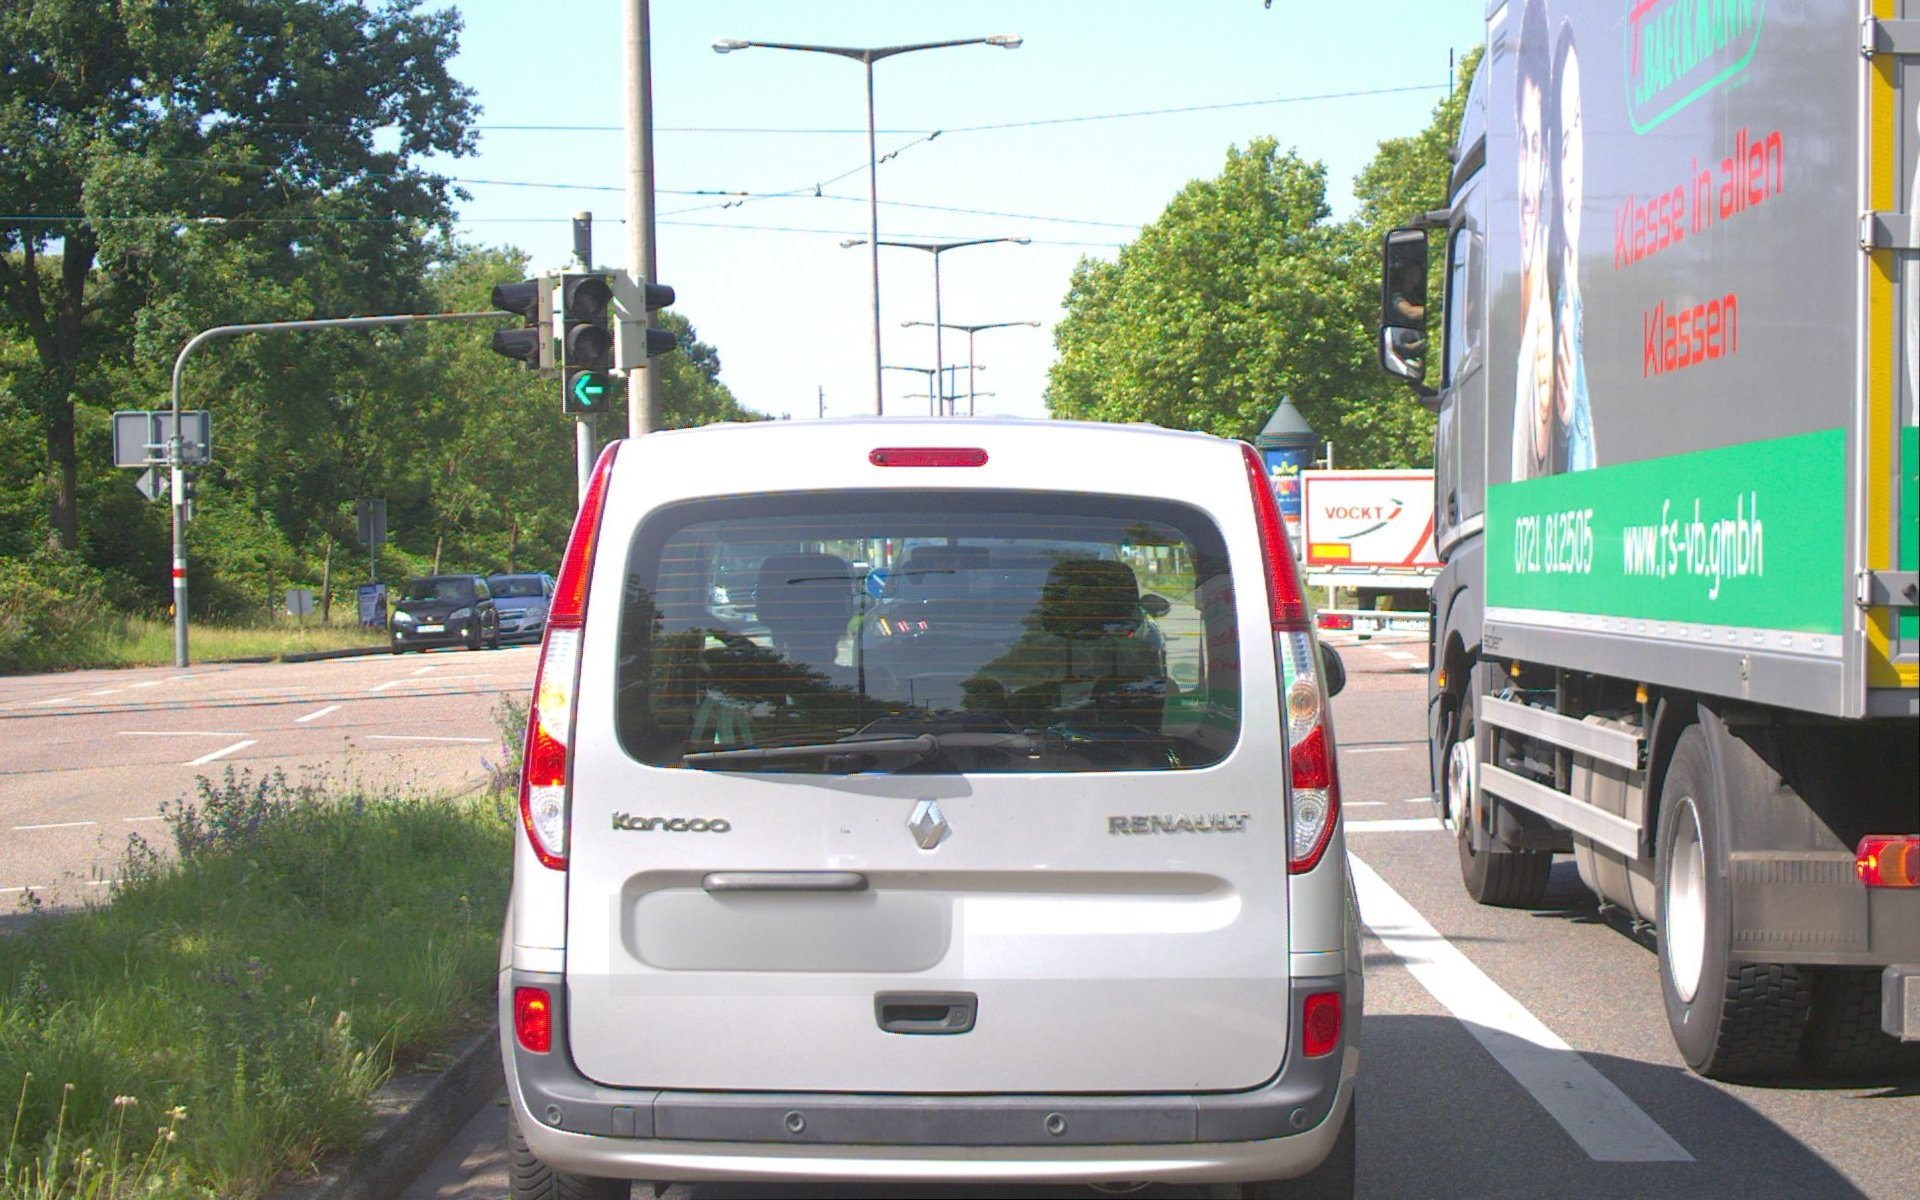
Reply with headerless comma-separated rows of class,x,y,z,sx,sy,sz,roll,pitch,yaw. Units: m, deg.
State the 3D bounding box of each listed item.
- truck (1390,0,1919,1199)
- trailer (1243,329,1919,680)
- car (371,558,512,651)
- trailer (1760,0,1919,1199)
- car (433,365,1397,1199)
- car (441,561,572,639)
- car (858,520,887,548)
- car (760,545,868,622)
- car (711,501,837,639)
truck,3.261,-0.589,11.795,2.729,3.876,8.722,0,0,2
trailer,8.239,-0.983,41.184,2.907,3.610,12.656,1,0,40
car,-9.702,0.067,64.557,1.911,1.636,3.737,-1,0,2
trailer,3.016,-0.529,3.524,2.736,3.863,7.735,-1,0,1
car,-0.109,0.474,8.449,1.786,1.831,4.000,1,0,-1
car,-9.469,-0.020,72.005,1.994,1.535,4.236,-1,0,2
car,-6.462,-4.854,254.330,1.888,2.007,4.000,1,0,2
car,-3.188,-0.373,75.819,1.994,1.579,4.000,-2,0,3
car,-3.672,-0.598,68.770,1.994,2.598,5.133,-1,0,2
